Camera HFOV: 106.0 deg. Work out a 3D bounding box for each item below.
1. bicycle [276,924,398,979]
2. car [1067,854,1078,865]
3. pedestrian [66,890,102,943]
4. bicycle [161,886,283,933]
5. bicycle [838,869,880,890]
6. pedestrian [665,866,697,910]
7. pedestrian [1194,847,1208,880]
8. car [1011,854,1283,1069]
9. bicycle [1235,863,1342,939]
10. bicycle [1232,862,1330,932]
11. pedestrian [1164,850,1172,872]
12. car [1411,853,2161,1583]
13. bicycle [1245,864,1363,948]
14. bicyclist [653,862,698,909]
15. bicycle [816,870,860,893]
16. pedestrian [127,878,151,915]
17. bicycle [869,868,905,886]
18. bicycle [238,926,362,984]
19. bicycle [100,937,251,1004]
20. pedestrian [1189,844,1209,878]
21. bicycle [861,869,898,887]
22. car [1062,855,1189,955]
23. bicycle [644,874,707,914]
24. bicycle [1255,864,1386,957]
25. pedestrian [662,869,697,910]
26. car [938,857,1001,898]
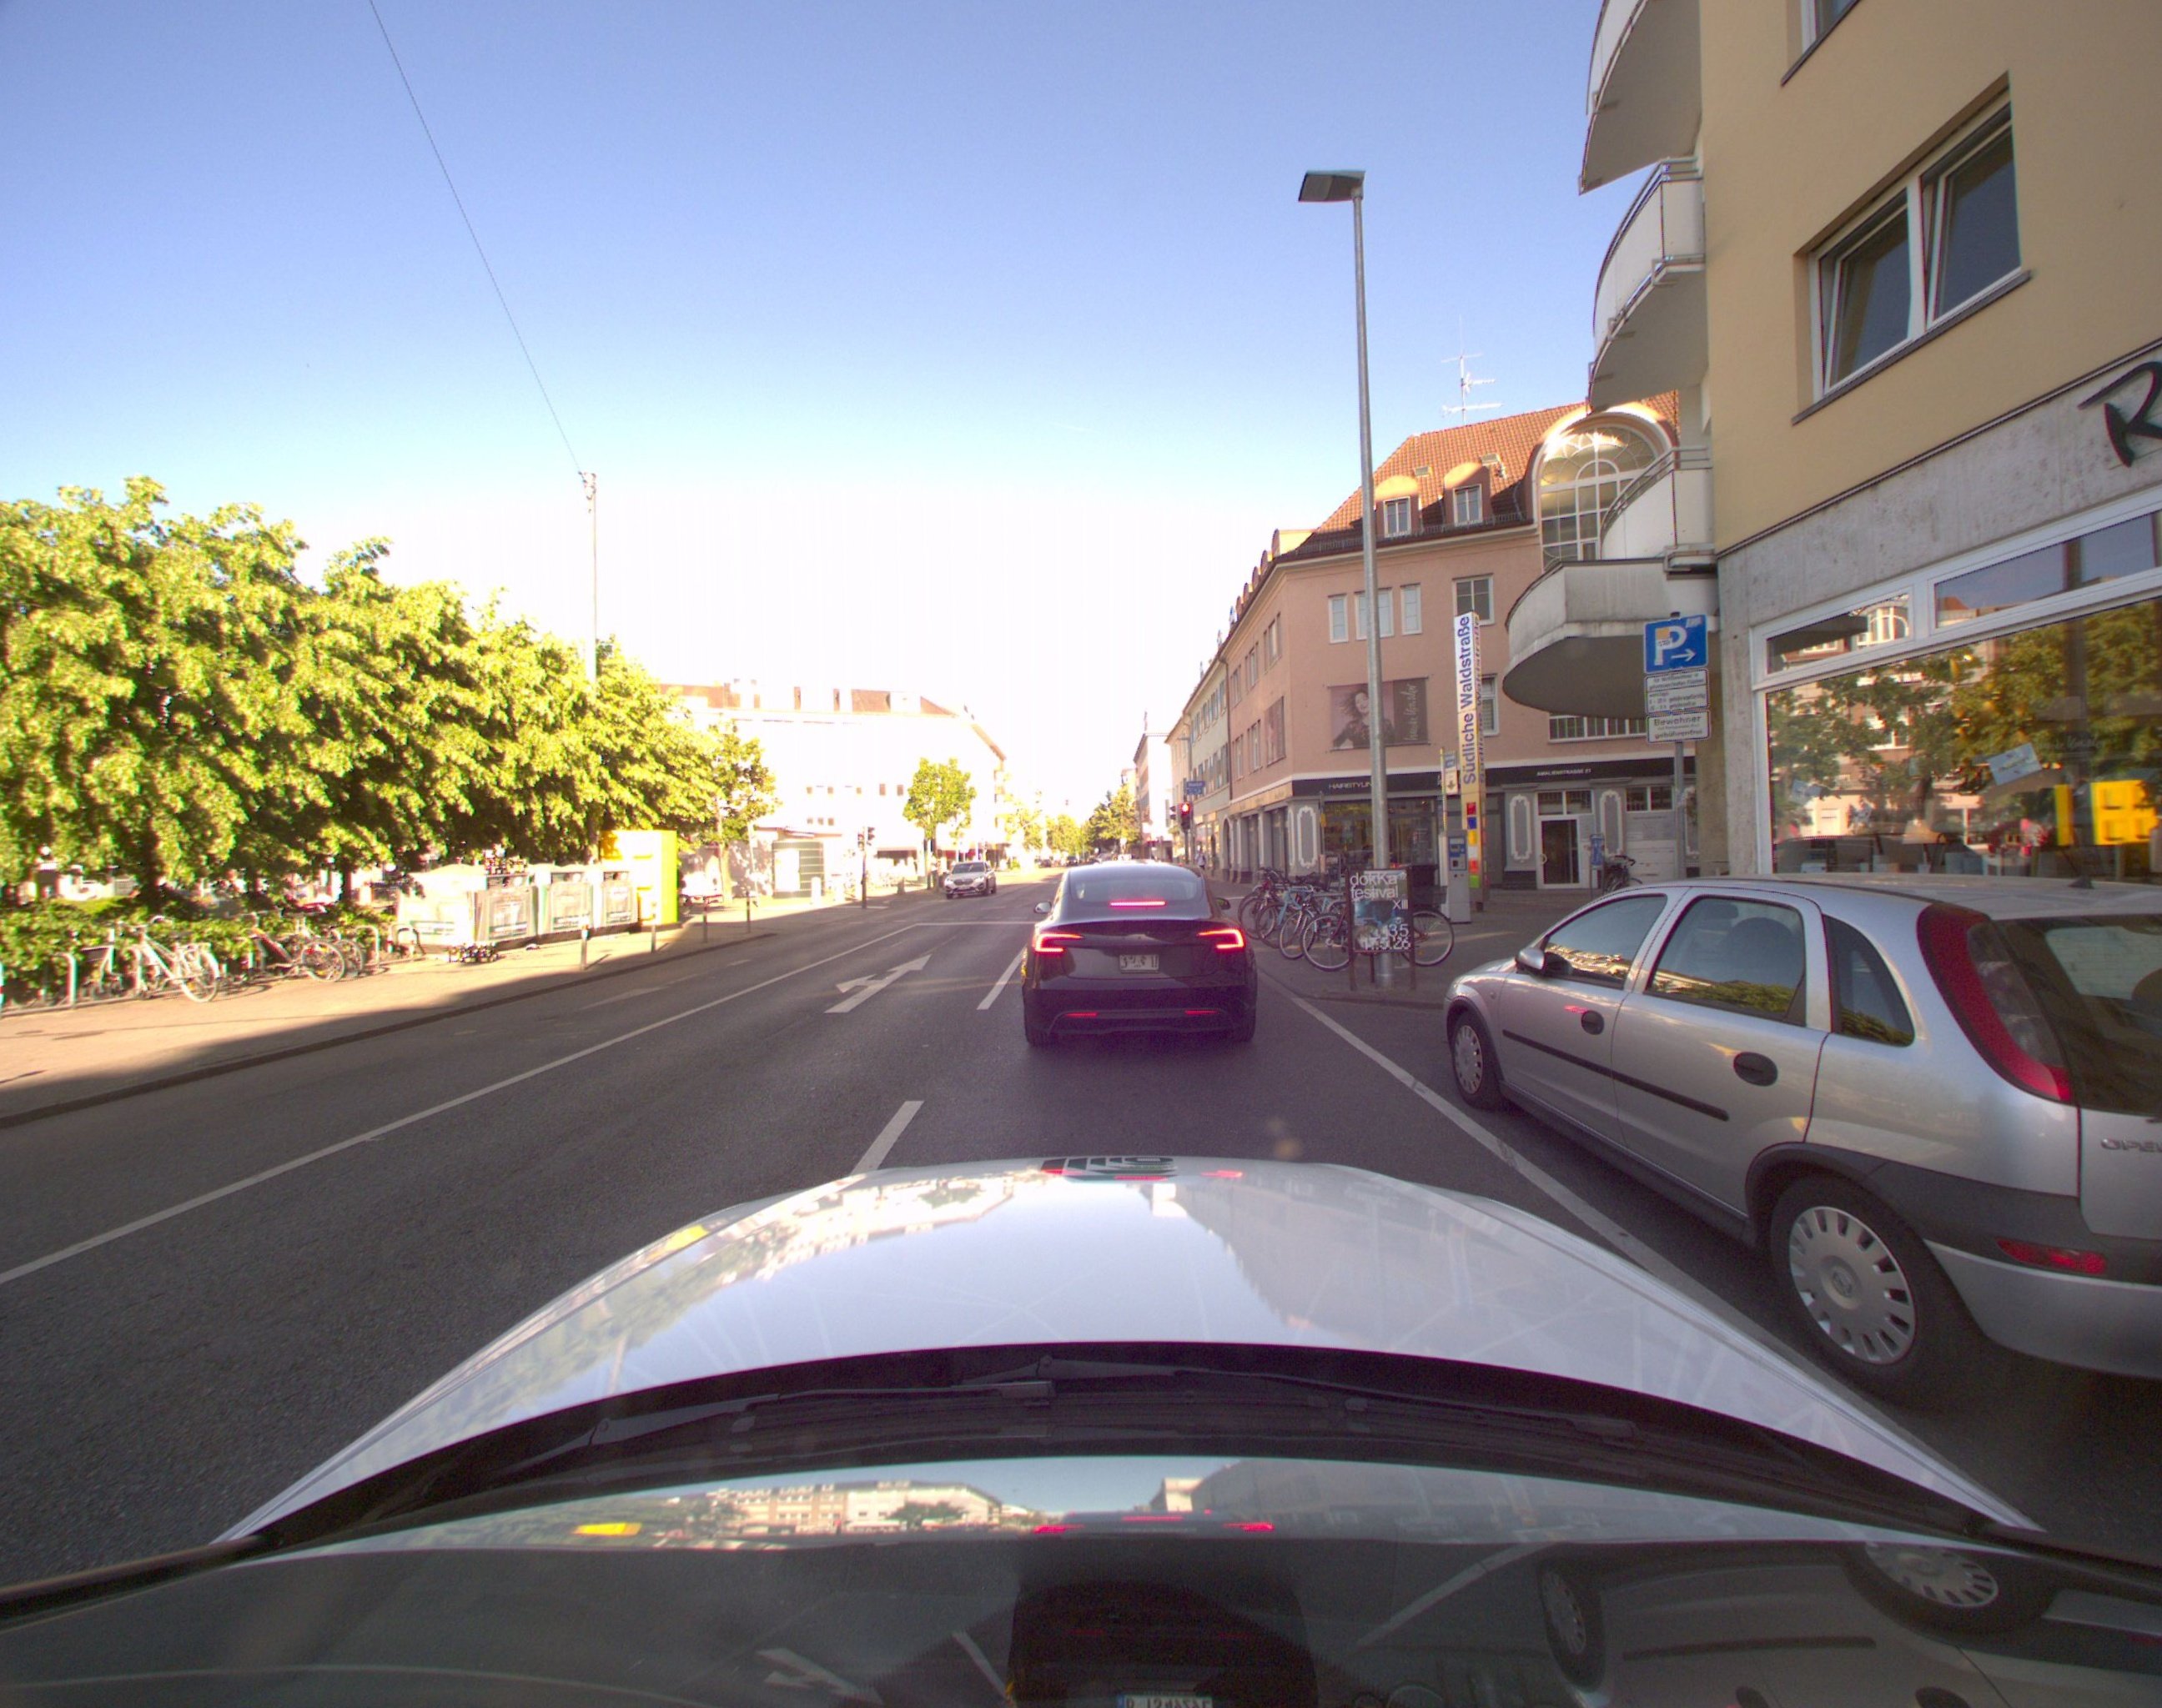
[{"bbox_3d":[-11.250,1.464,12.323,1.466,0.769,0.475,-1,-1,4],"label":"bicycle"},{"bbox_3d":[-1.366,0.898,131.643,1.824,1.724,4.000,-1,0,0],"label":"car"},{"bbox_3d":[-39.026,2.437,31.882,0.577,2.014,0.682,-1,-1,9],"label":"pedestrian"},{"bbox_3d":[-21.133,1.346,20.094,0.498,1.017,2.068,-1,-1,15],"label":"bicycle"},{"bbox_3d":[-12.431,1.442,45.642,2.075,1.104,0.806,-1,0,1],"label":"bicycle"},{"bbox_3d":[-16.186,1.354,32.974,0.897,1.725,0.745,-1,0,5],"label":"pedestrian"},{"bbox_3d":[6.658,0.518,45.251,0.701,1.783,0.534,-1,0,1],"label":"pedestrian"},{"bbox_3d":[0.542,0.747,7.515,1.842,1.455,3.788,-1,0,3],"label":"car"},{"bbox_3d":[3.446,0.776,13.599,1.622,1.160,0.433,-3,0,0],"label":"bicycle"},{"bbox_3d":[3.622,0.765,14.797,1.621,1.160,0.433,-3,0,2],"label":"bicycle"},{"bbox_3d":[6.712,0.538,62.578,0.568,1.691,0.387,-1,0,1],"label":"pedestrian"},{"bbox_3d":[2.952,0.711,3.512,1.615,1.394,3.888,-1,0,3],"label":"car"},{"bbox_3d":[3.380,0.781,12.412,1.622,1.160,0.433,-3,0,0],"label":"bicycle"},{"bbox_3d":[-12.992,1.000,26.080,0.996,1.435,0.803,-1,0,21],"label":"bicyclist"},{"bbox_3d":[-12.848,1.452,43.130,2.075,1.104,0.806,-1,0,1],"label":"bicycle"},{"bbox_3d":[-46.116,2.081,39.861,0.576,1.792,0.604,-1,-1,19],"label":"pedestrian"},{"bbox_3d":[-12.520,1.454,52.618,2.075,1.104,0.806,-1,0,1],"label":"bicycle"},{"bbox_3d":[-11.267,1.452,11.759,1.465,0.769,0.442,-1,-1,6],"label":"bicycle"},{"bbox_3d":[-11.448,1.455,10.308,1.645,0.769,0.476,-1,-1,10],"label":"bicycle"},{"bbox_3d":[6.537,0.408,45.229,0.995,1.850,0.615,-1,0,1],"label":"pedestrian"},{"bbox_3d":[-12.477,1.483,50.421,2.075,1.104,0.806,-1,0,1],"label":"bicycle"},{"bbox_3d":[0.747,0.759,13.931,1.842,1.455,3.788,-1,0,3],"label":"car"},{"bbox_3d":[-12.989,1.270,26.083,1.752,1.233,0.803,-1,0,21],"label":"bicycle"},{"bbox_3d":[3.288,0.771,11.241,1.622,1.160,0.433,-3,0,0],"label":"bicycle"},{"bbox_3d":[-16.182,1.421,32.858,0.981,1.636,0.738,-1,0,5],"label":"pedestrian"},{"bbox_3d":[-4.892,1.003,36.274,1.986,1.541,4.002,-5,0,2],"label":"car"}]
